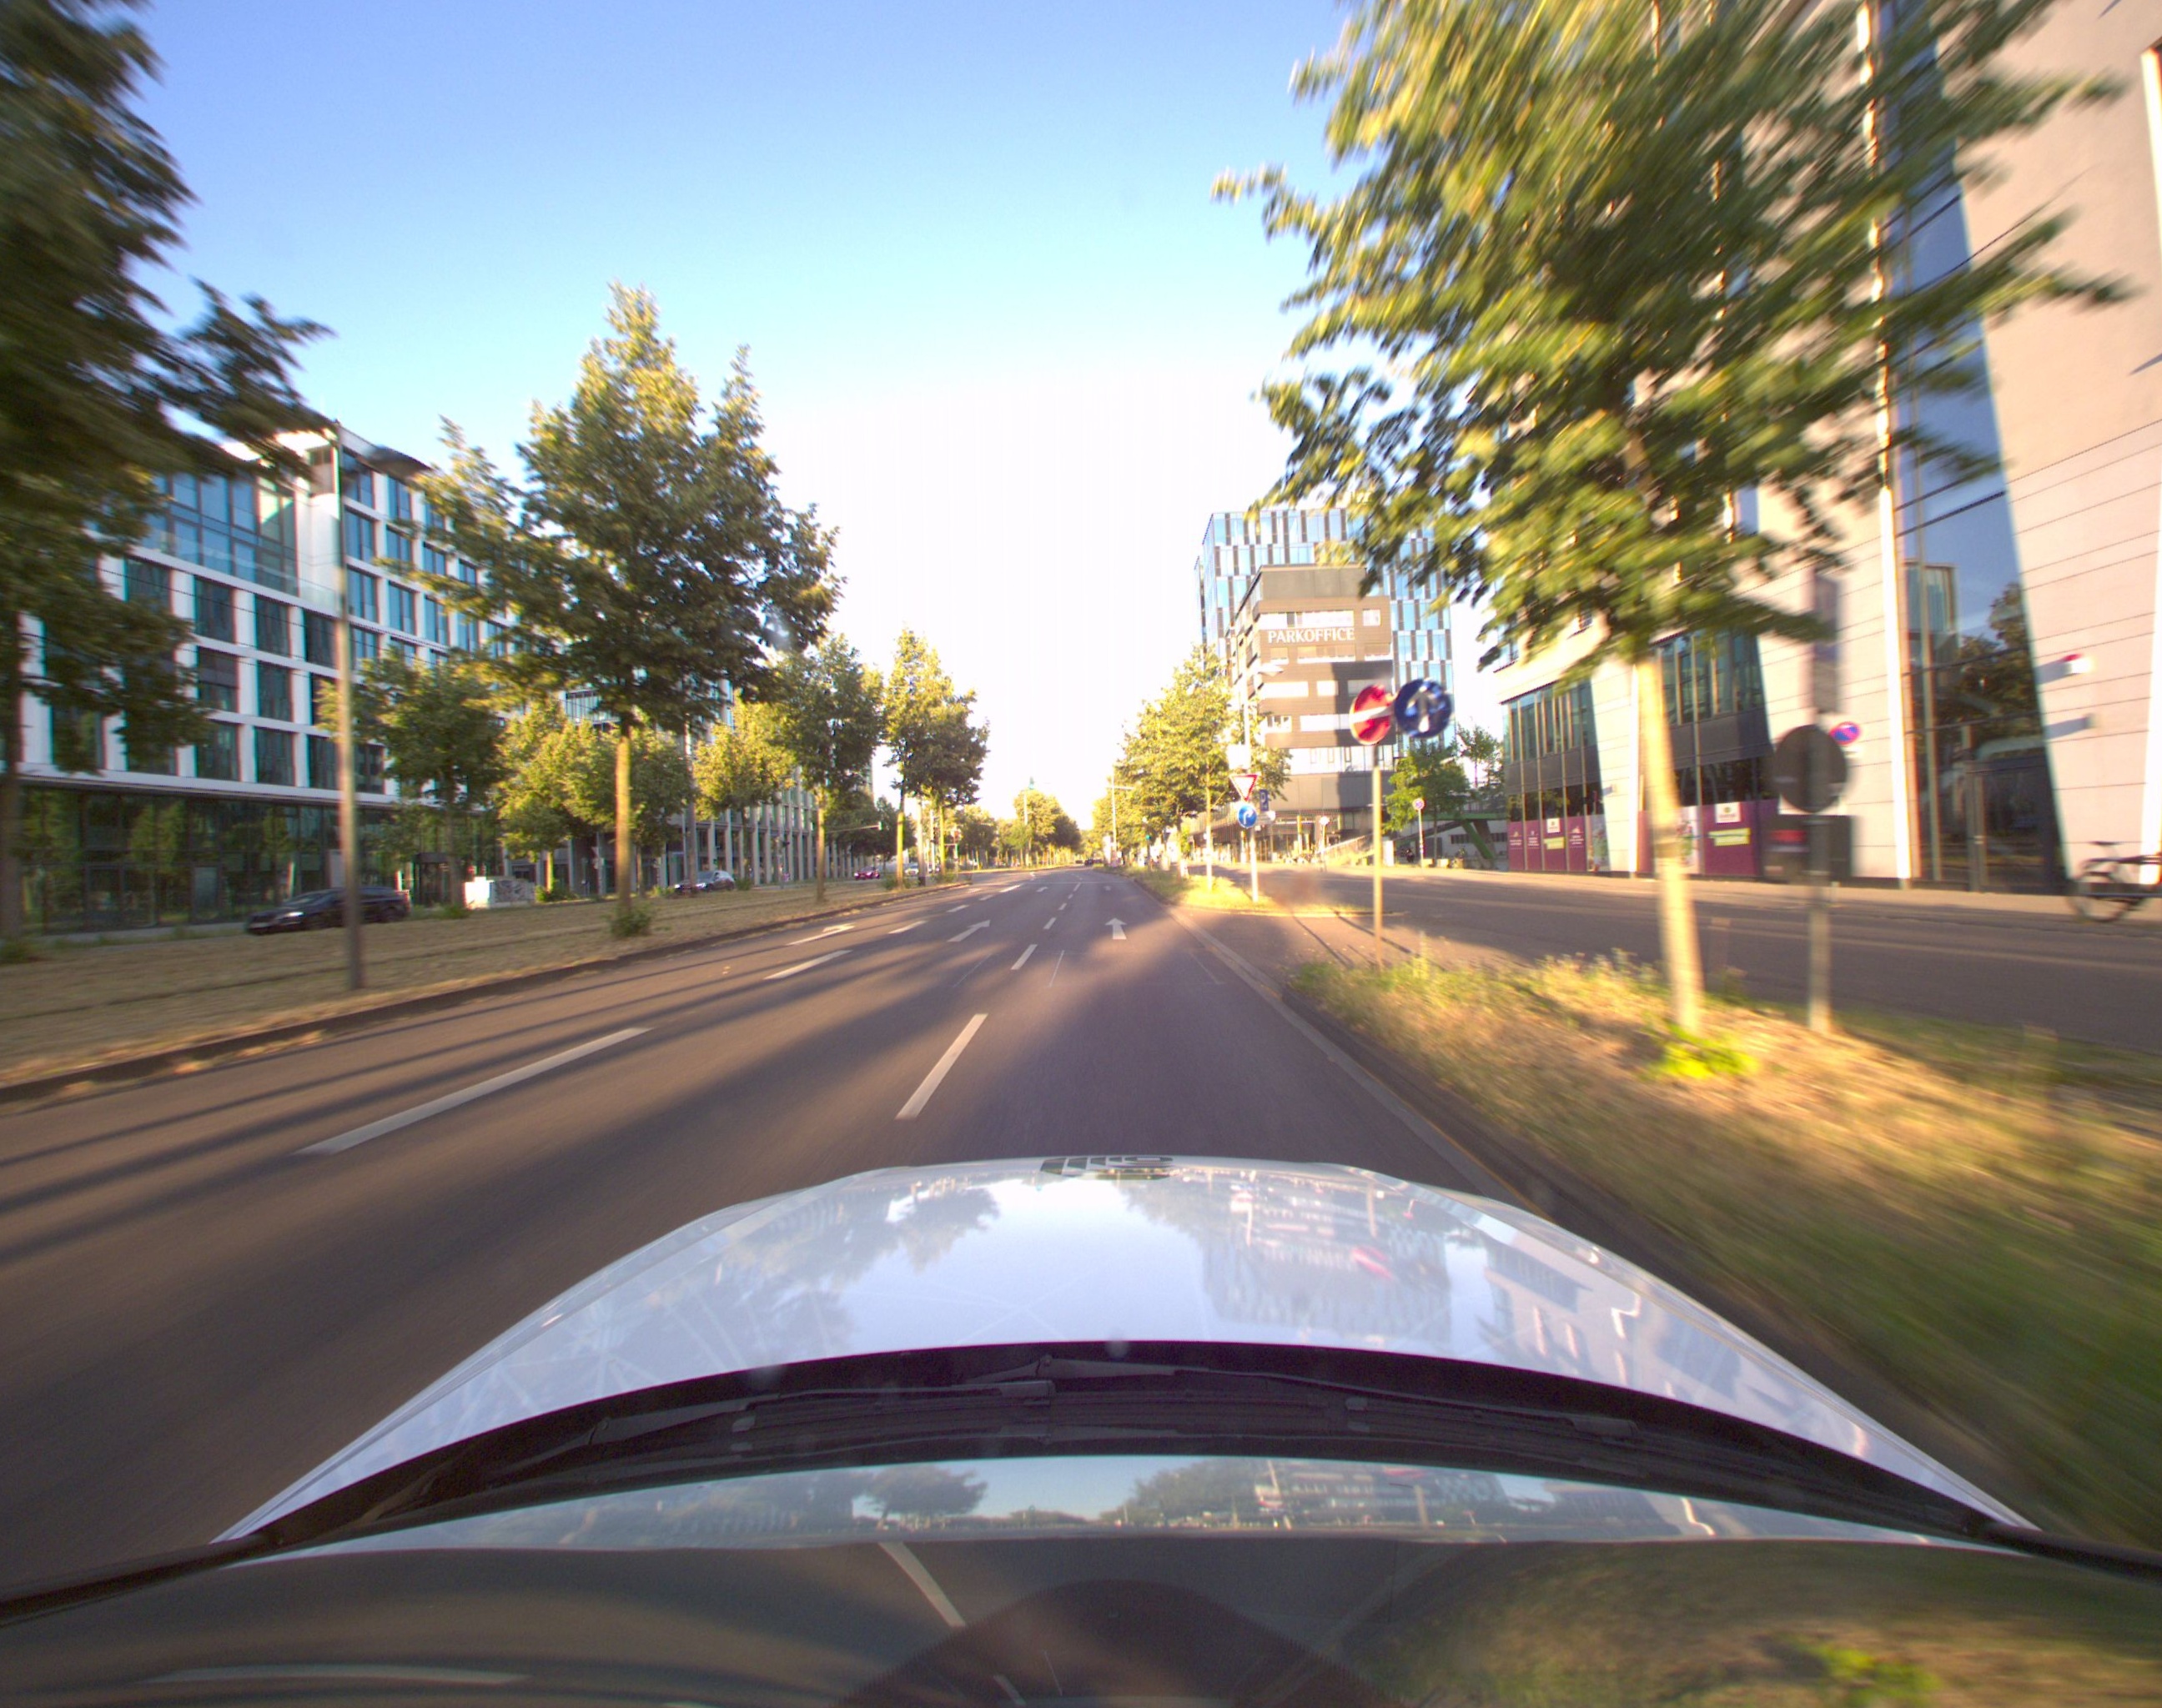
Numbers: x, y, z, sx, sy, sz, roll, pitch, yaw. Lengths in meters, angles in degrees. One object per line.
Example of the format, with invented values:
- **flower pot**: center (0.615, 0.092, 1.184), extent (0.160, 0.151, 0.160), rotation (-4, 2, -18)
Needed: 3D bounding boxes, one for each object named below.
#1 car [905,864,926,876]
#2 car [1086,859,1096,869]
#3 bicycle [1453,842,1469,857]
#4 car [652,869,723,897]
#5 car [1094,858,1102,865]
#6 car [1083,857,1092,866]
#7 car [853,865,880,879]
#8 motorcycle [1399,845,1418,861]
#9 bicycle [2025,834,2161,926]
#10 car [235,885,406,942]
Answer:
- **car**: center (-19.825, 1.862, 97.542), extent (1.781, 1.332, 3.671), rotation (-2, 0, 0)
- **car**: center (2.134, 2.132, 176.587), extent (1.987, 2.013, 4.000), rotation (-2, 0, 0)
- **bicycle**: center (27.018, -0.304, 57.904), extent (0.564, 1.052, 1.773), rotation (-2, 0, 11)
- **car**: center (-21.686, 1.566, 45.080), extent (1.652, 1.332, 4.583), rotation (-2, 0, 0)
- **car**: center (4.118, 1.942, 200.739), extent (1.865, 1.574, 3.679), rotation (-2, 0, 3)
- **car**: center (1.619, 1.956, 207.786), extent (2.080, 2.013, 4.000), rotation (-2, 0, 0)
- **car**: center (-23.184, 1.955, 88.033), extent (1.652, 1.332, 4.526), rotation (-2, 0, 0)
- **motorcycle**: center (23.864, -0.072, 59.341), extent (0.646, 1.094, 2.337), rotation (-2, 0, 7)
- **bicycle**: center (13.192, 0.306, 10.318), extent (0.444, 1.072, 1.776), rotation (-4, 0, 5)
- **car**: center (-24.809, 1.883, 26.814), extent (1.652, 1.502, 4.189), rotation (-2, 0, 0)
